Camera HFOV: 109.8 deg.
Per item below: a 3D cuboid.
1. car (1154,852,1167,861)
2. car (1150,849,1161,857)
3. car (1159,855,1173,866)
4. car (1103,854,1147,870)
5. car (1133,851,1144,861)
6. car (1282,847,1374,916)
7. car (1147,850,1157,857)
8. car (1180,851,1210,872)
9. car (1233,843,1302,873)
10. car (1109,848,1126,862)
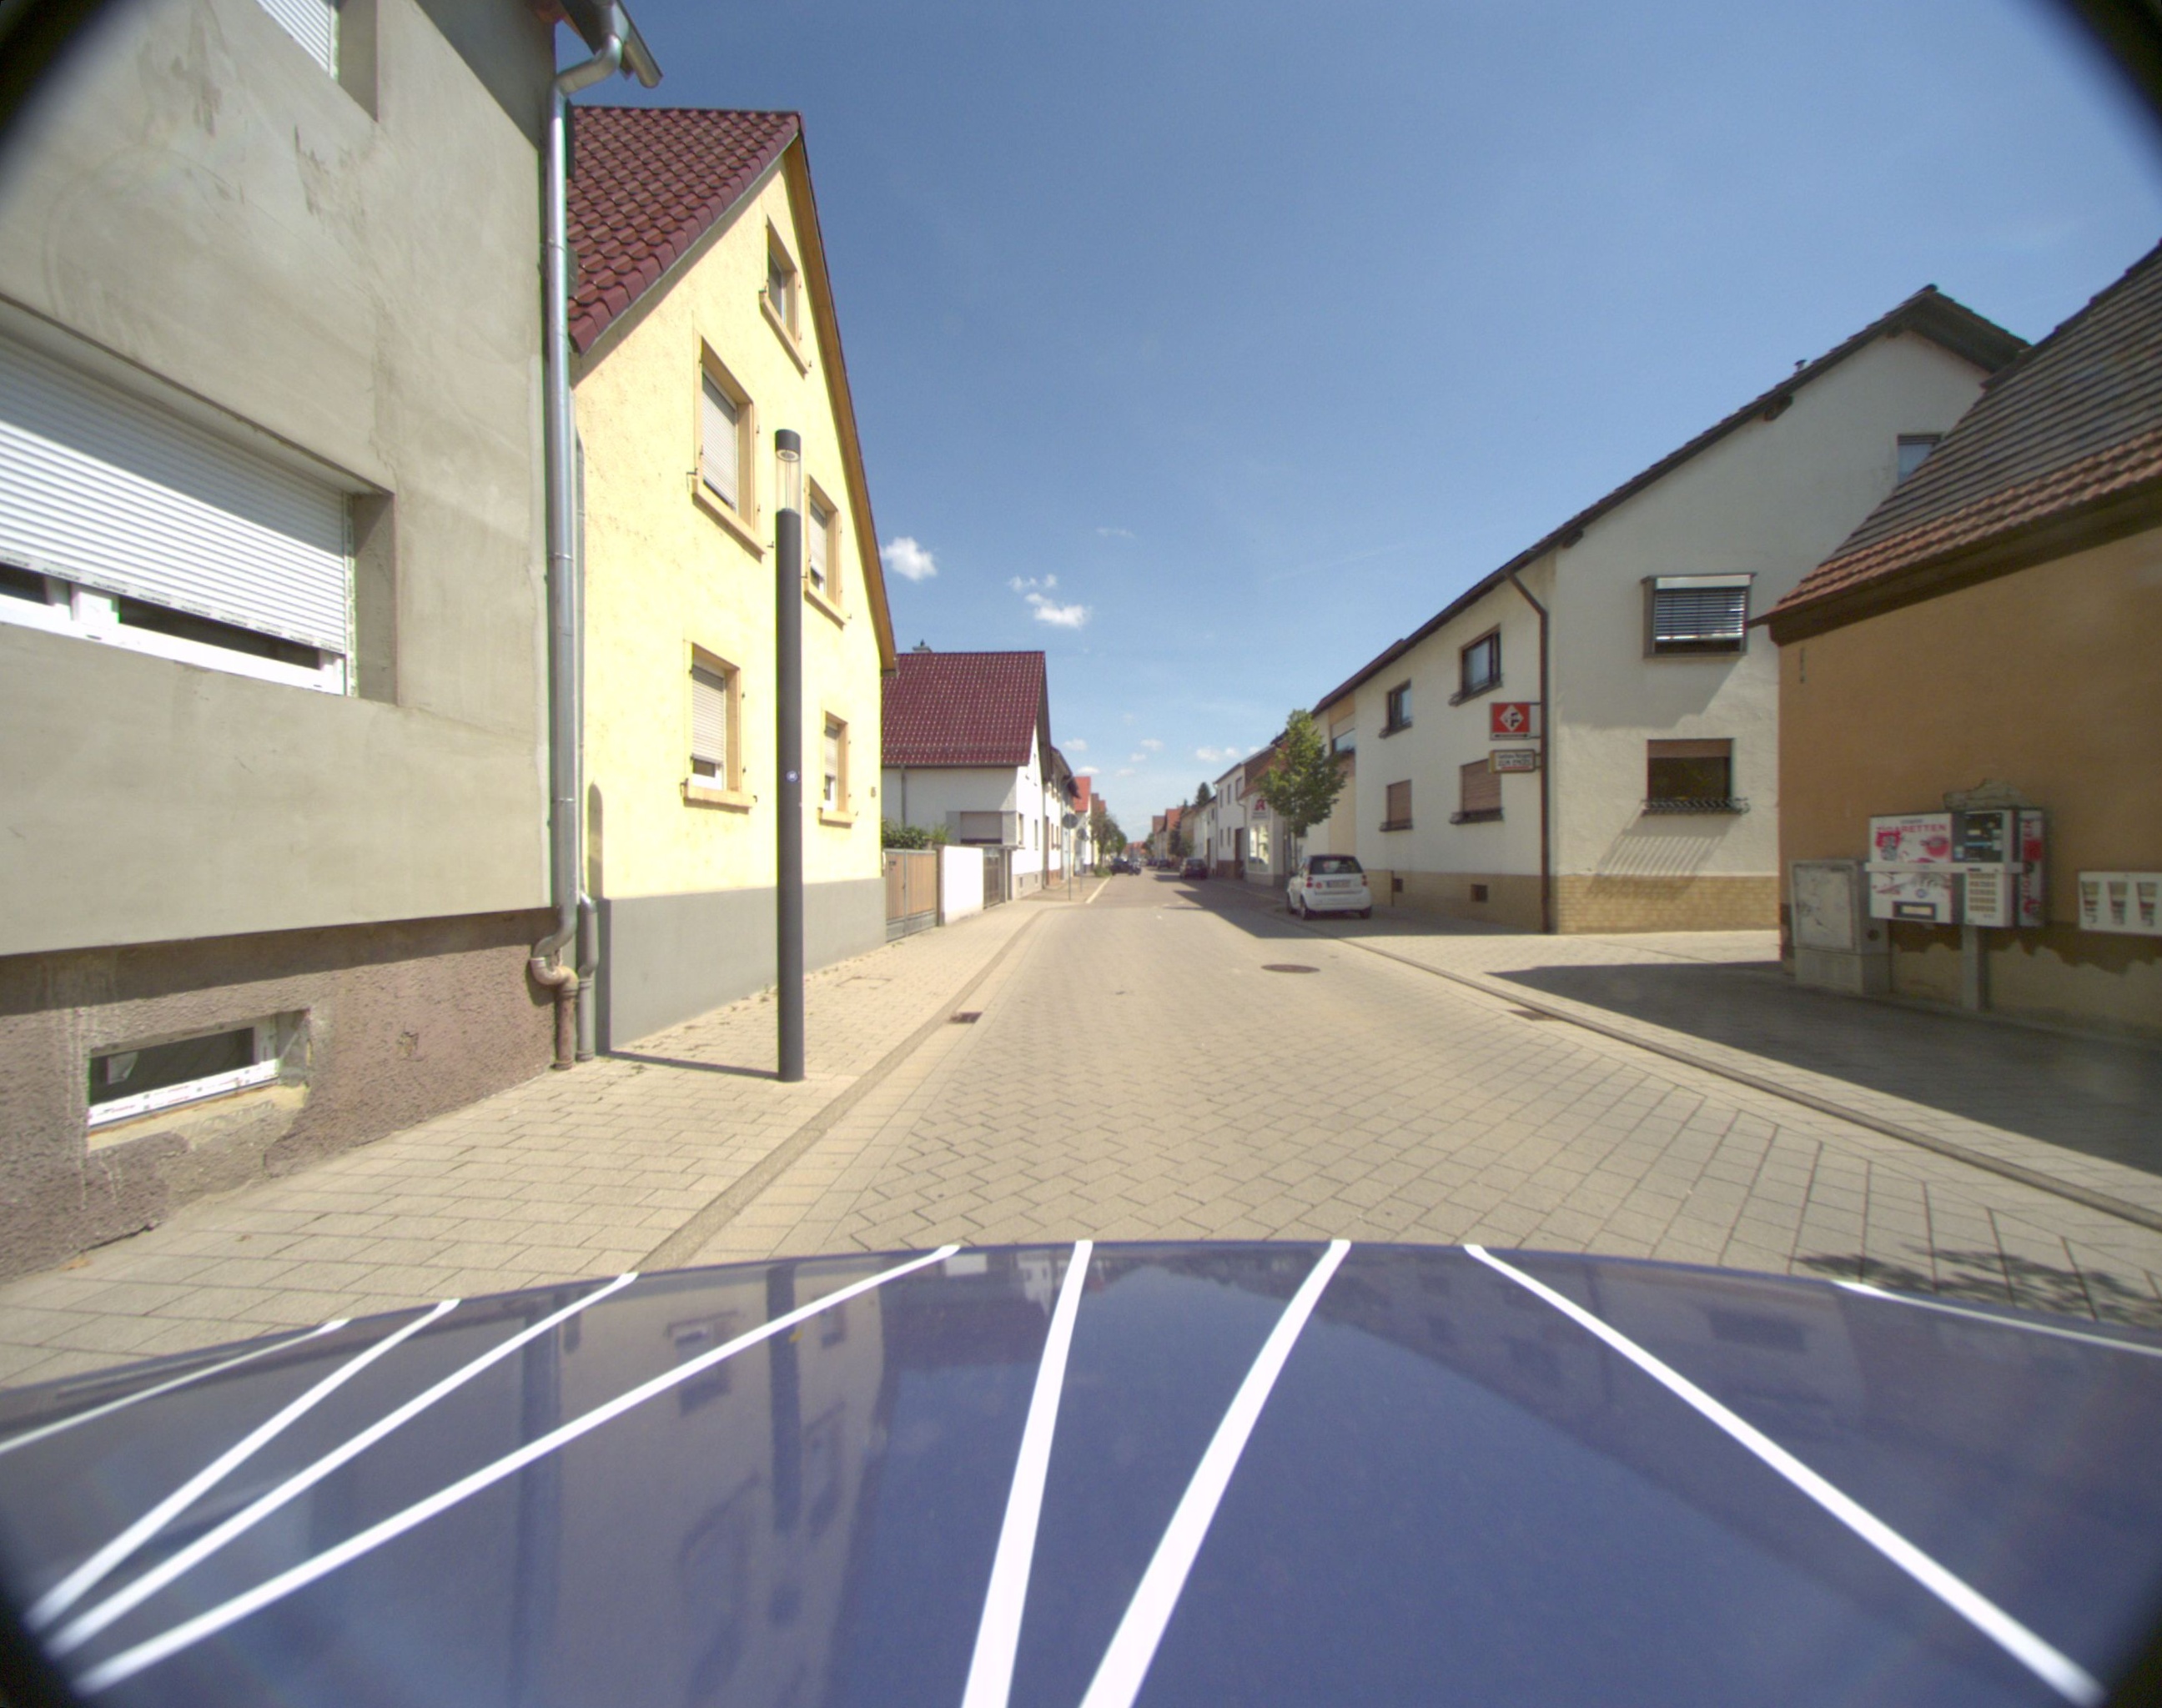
[{"bbox_3d":[14.085,0.490,134.620,1.854,1.543,4.000,0,0,1],"label":"car"},{"bbox_3d":[14.948,-0.197,152.192,1.998,1.570,4.000,0,0,1],"label":"car"},{"bbox_3d":[12.635,0.952,113.112,1.851,1.688,4.001,0,0,4],"label":"car"},{"bbox_3d":[4.102,0.708,71.076,3.807,1.420,1.731,0,0,35],"label":"car"},{"bbox_3d":[9.744,0.344,128.832,1.957,1.521,4.001,0,0,4],"label":"car"},{"bbox_3d":[6.102,0.633,19.044,1.576,1.552,2.823,-2,0,5],"label":"car"},{"bbox_3d":[14.728,-0.087,158.075,1.998,1.570,4.001,0,0,3],"label":"car"},{"bbox_3d":[8.507,0.556,57.067,1.752,1.557,3.955,0,0,2],"label":"car"},{"bbox_3d":[12.039,0.272,49.231,3.995,1.708,1.815,-2,0,5],"label":"car"},{"bbox_3d":[4.741,0.145,97.585,1.998,1.696,4.002,0,0,5],"label":"car"}]
